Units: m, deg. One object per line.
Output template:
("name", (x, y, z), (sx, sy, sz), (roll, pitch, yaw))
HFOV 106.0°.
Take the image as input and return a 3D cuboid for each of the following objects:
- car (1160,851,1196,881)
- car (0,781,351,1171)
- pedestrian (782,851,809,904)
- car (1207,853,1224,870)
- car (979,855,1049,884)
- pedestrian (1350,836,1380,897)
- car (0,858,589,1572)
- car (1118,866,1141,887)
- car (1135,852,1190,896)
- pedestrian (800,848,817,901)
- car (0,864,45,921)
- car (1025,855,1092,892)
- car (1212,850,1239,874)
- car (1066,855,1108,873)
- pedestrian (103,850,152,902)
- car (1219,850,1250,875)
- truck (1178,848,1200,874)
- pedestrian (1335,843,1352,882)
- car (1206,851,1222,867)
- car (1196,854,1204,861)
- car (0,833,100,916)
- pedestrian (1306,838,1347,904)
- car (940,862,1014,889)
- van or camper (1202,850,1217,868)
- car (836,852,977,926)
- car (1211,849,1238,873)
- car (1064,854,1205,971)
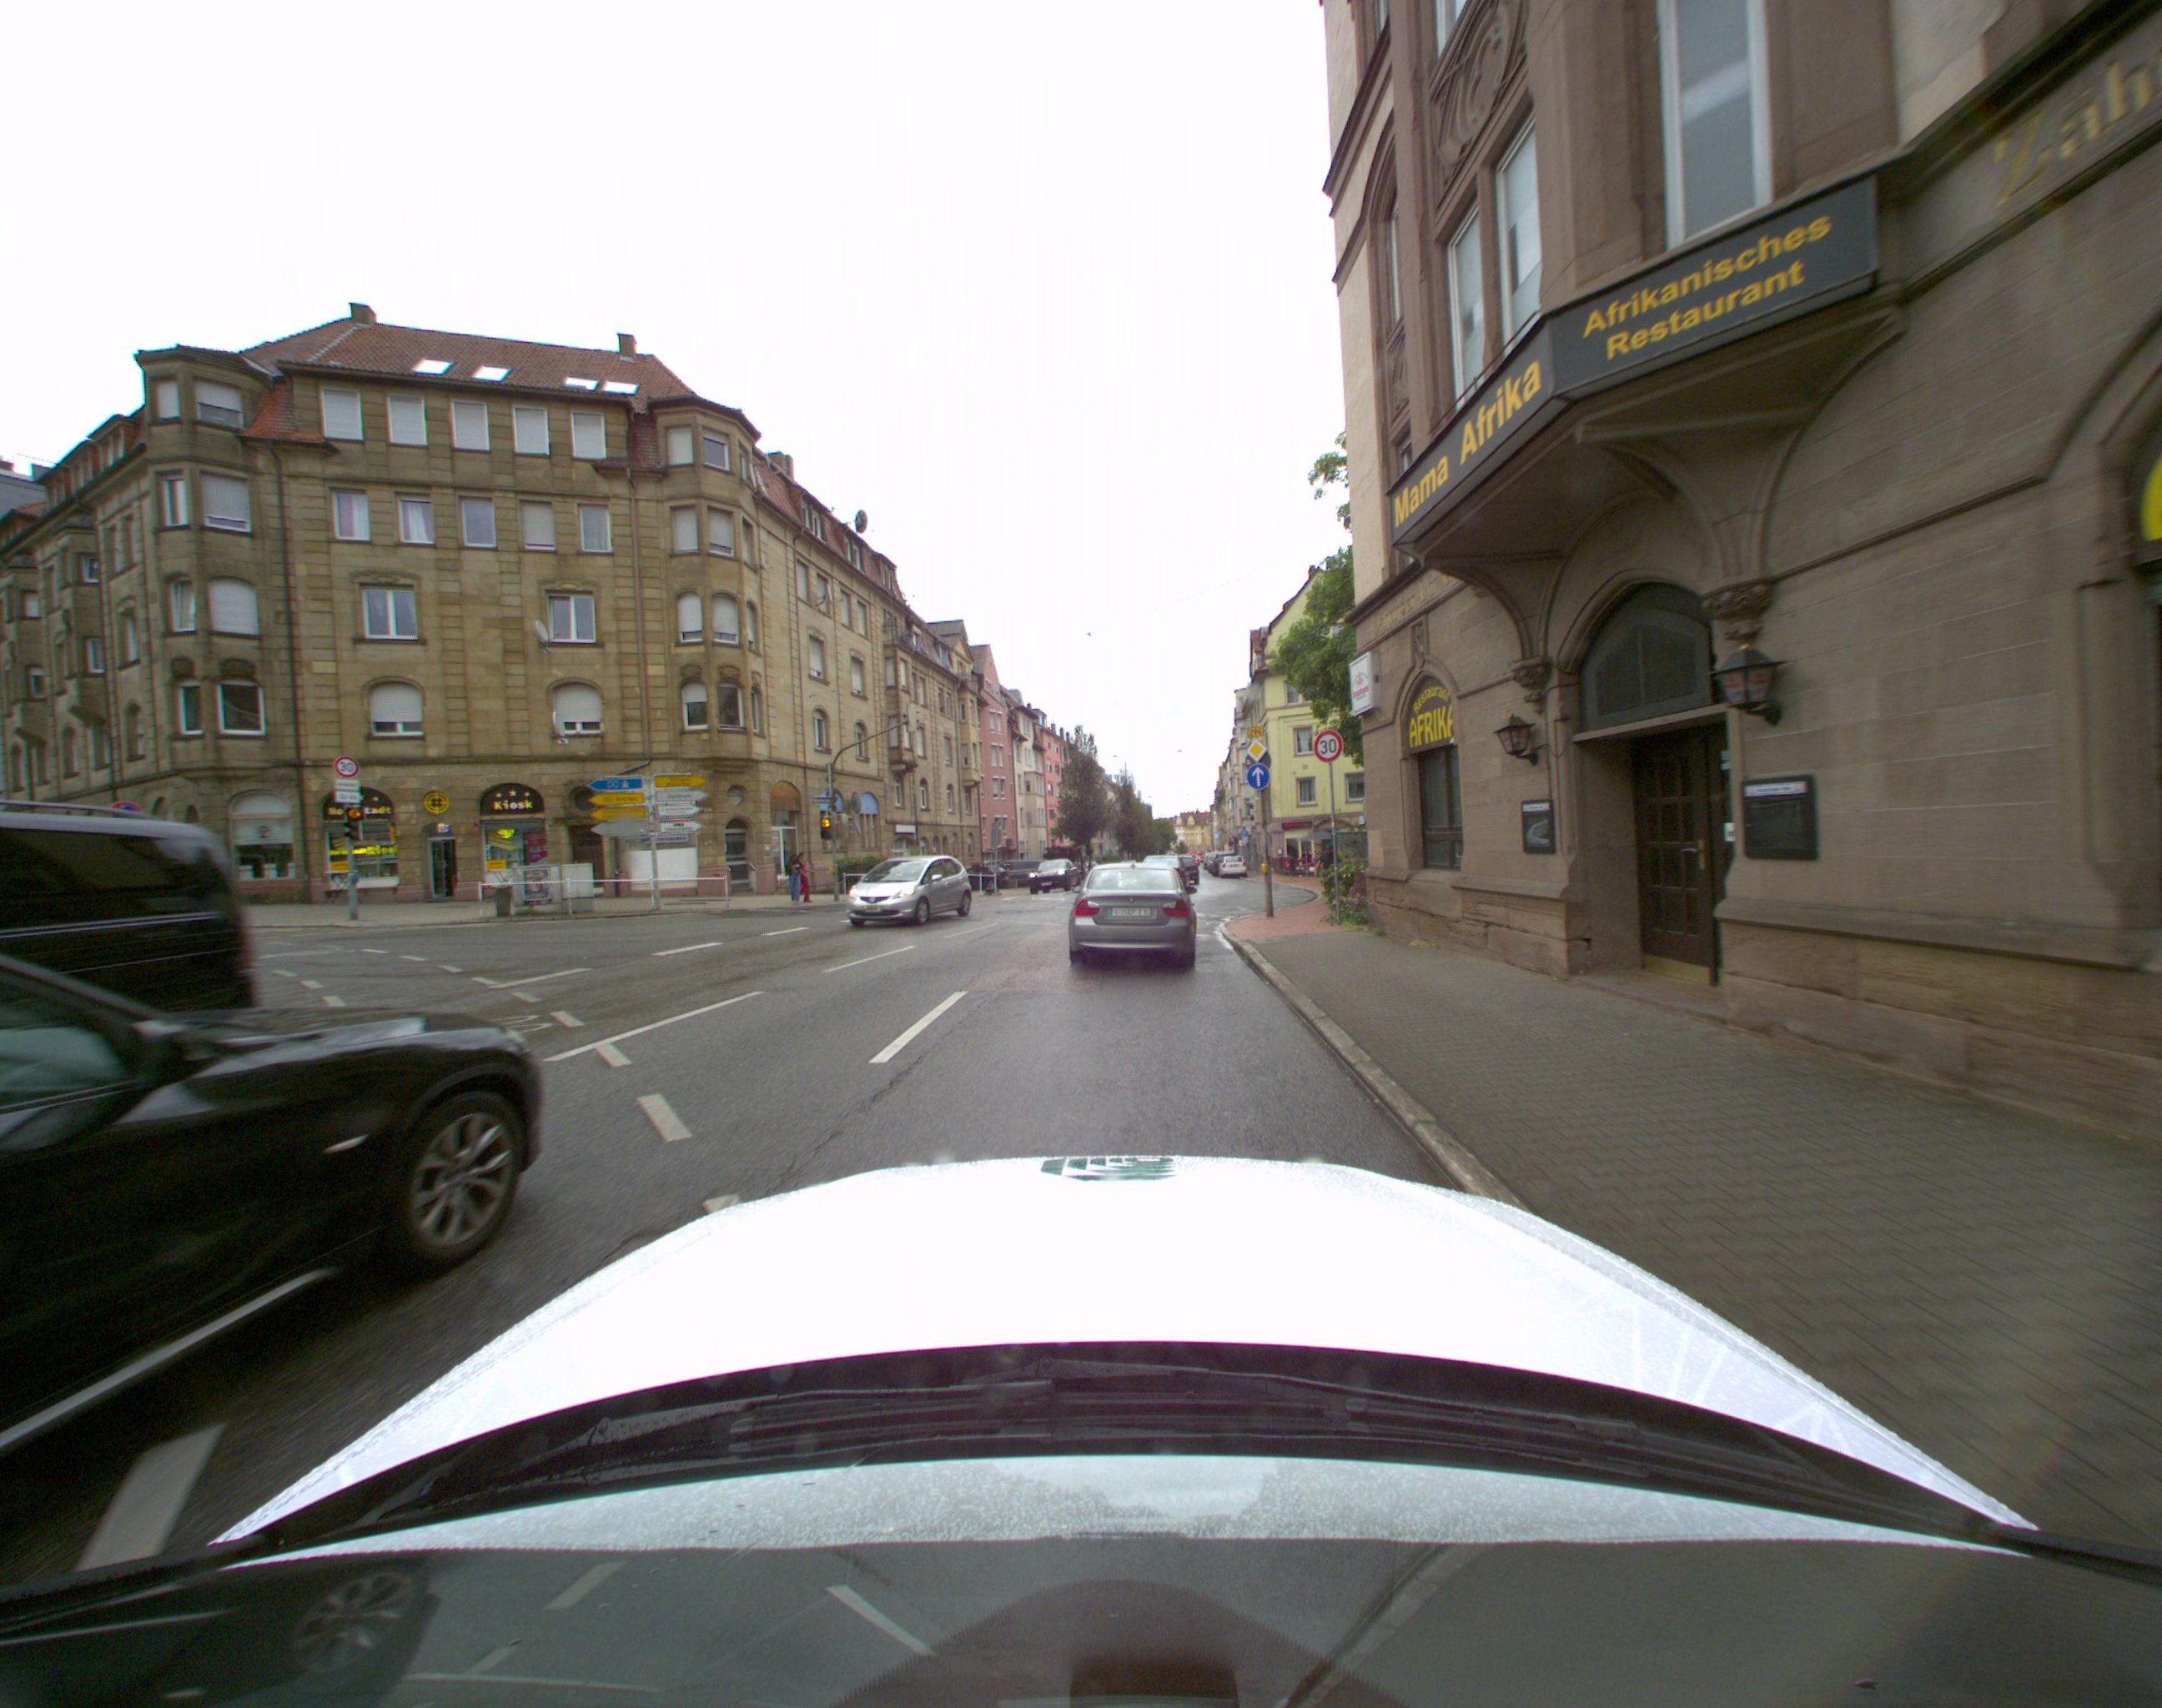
("car", (5.037, 0.645, 42.703), (1.690, 1.483, 3.798), (-1, -1, 4))
("car", (-6.064, 0.616, 3.497), (1.732, 1.846, 4.156), (-3, -1, 8))
("pedestrian", (-9.439, 0.775, 26.920), (0.829, 1.702, 0.634), (-1, 0, -21))
("car", (17.357, 0.920, 105.336), (1.971, 2.007, 4.635), (-4, -1, 8))
("car", (-4.587, 1.042, 55.918), (4.662, 1.939, 1.862), (-1, 0, -2))
("pedestrian", (8.248, 0.347, 23.627), (0.566, 1.733, 0.736), (-1, -1, 41))
("car", (-3.212, 0.794, 1.719), (1.746, 1.535, 4.214), (-1, -1, 0))
("car", (4.380, 1.973, 72.951), (1.612, 1.649, 4.429), (-6, -1, 8))
("car", (2.908, 0.682, 28.519), (1.672, 1.428, 3.750), (-1, -1, 9))
("pedestrian", (-9.305, 0.692, 27.808), (0.524, 1.774, 0.689), (-1, 0, -19))
("car", (-34.211, 1.195, 25.091), (4.326, 1.704, 2.012), (-1, -1, 27))
("car", (-1.041, 0.985, 41.099), (1.950, 1.693, 4.828), (-2, -2, 16))
("car", (10.785, 0.598, 61.021), (1.868, 1.731, 4.687), (-1, -1, 8))
("car", (0.763, 1.242, 100.061), (4.802, 1.974, 2.052), (-4, -1, 8))
("pedestrian", (-31.082, 0.719, 26.544), (0.665, 1.661, 0.784), (-1, 0, 2))
("car", (10.424, 0.596, 55.582), (1.789, 1.565, 4.501), (-1, -1, 7))
("truck", (10.633, 0.688, 80.110), (2.021, 2.413, 4.836), (-1, -1, 7))
("pedestrian", (12.020, 0.372, 37.326), (0.553, 1.775, 0.549), (-1, -1, 36))
("car", (19.541, 0.779, 119.732), (1.971, 2.166, 4.760), (-4, -1, 8))
("car", (28.690, 0.912, 196.306), (1.868, 1.731, 4.450), (-1, 0, 8))
("car", (-29.801, 0.571, 22.760), (4.743, 2.168, 2.012), (-1, -1, 27))
("pedestrian", (6.413, 0.438, 21.259), (0.820, 1.679, 0.899), (-1, 0, 31))
("car", (-6.450, 1.352, 50.793), (4.124, 1.510, 1.877), (-2, 0, 8))
("van or camper", (20.476, 0.786, 129.970), (2.020, 2.869, 6.907), (0, 0, 12))
("car", (-3.935, 0.739, 19.043), (1.613, 1.518, 3.886), (-1, 0, 14))
("car", (11.790, 0.582, 67.110), (1.908, 1.827, 5.020), (-4, -1, 8))
("car", (0.729, 0.738, 12.223), (1.763, 1.428, 3.742), (-1, 0, 1))
